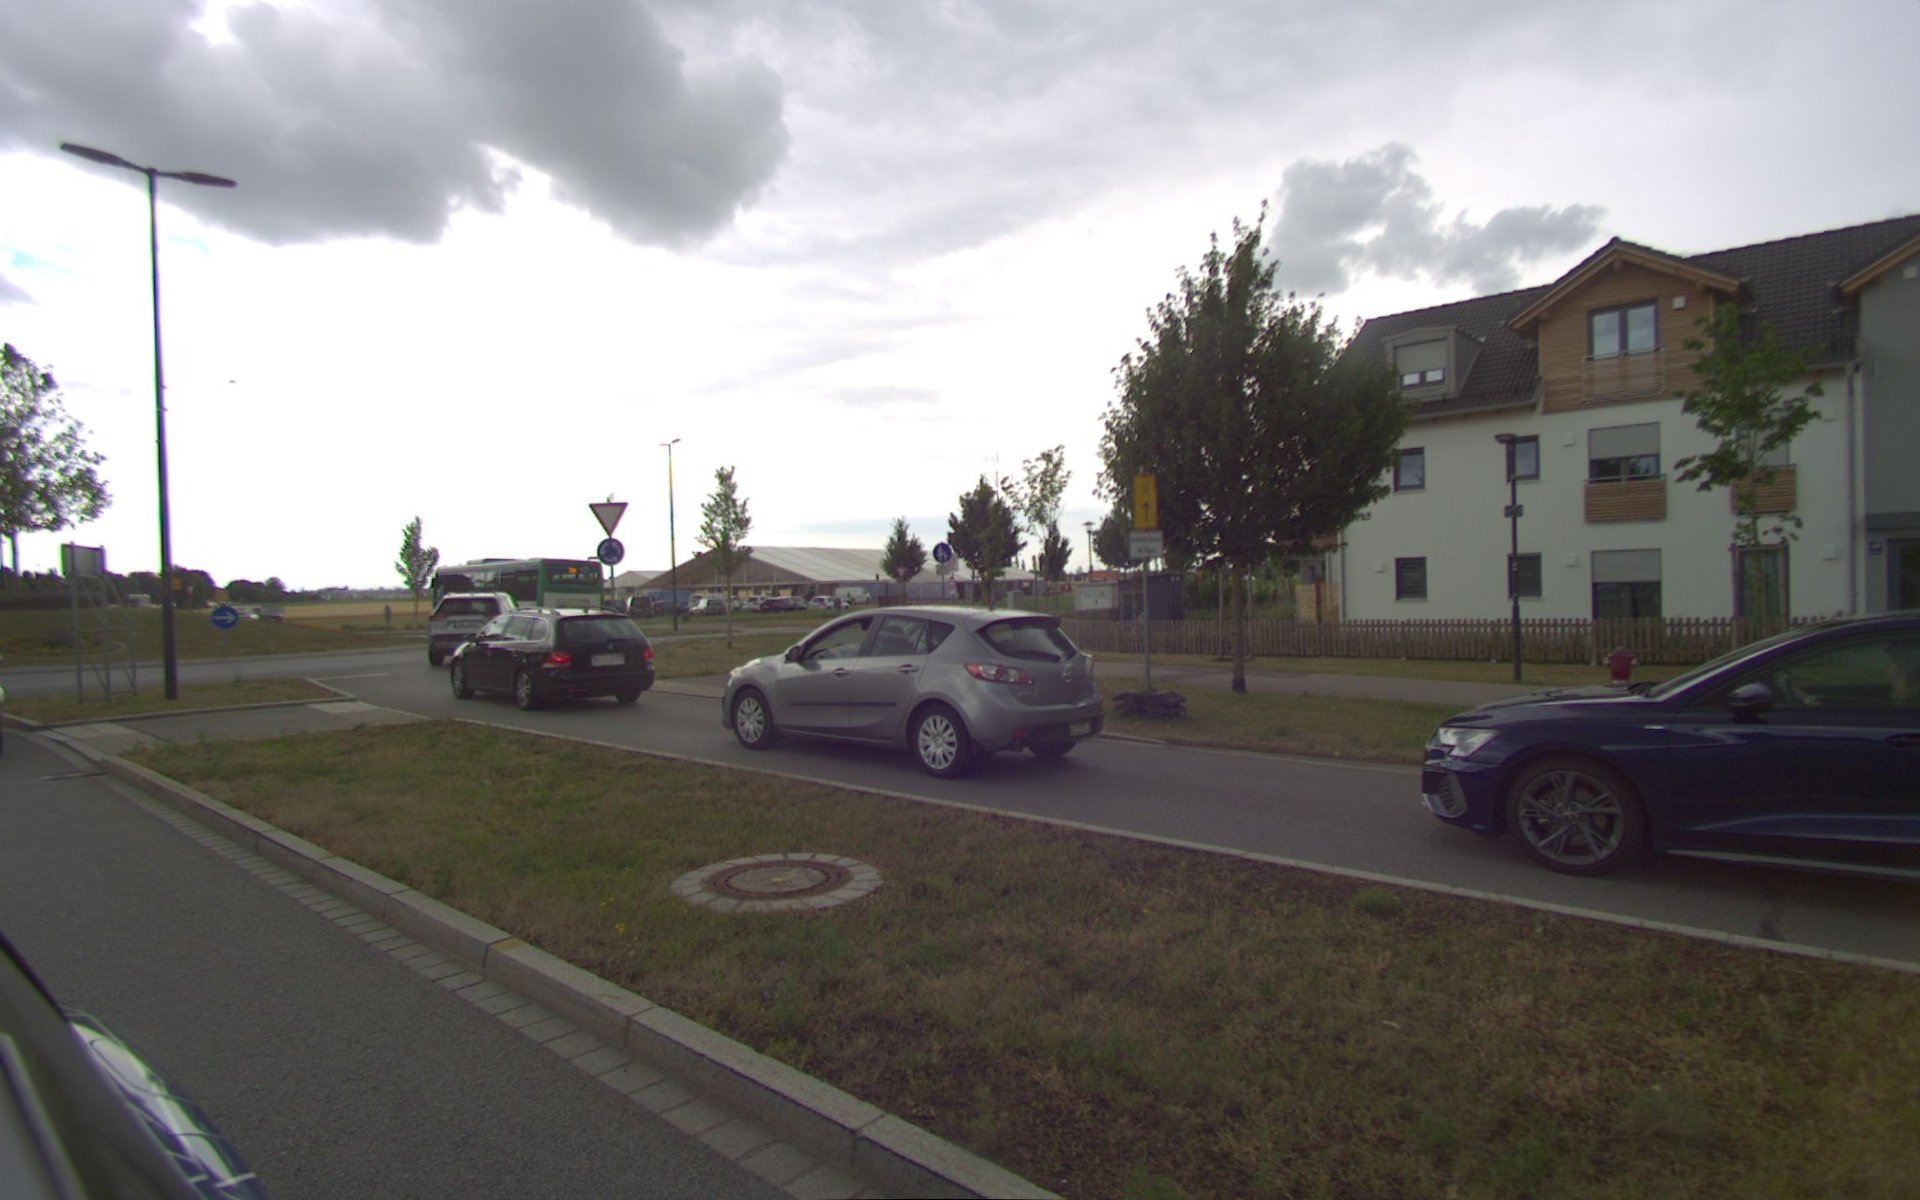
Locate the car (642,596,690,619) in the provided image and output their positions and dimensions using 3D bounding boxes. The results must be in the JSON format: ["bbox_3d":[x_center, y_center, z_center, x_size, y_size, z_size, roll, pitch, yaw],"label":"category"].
[{"bbox_3d":[-26.242,0.657,90.400,1.991,2.029,3.962,-1,-1,28],"label":"car"}]

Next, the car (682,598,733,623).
[{"bbox_3d":[-21.164,0.913,84.940,1.993,2.029,3.956,-1,-1,32],"label":"car"}]

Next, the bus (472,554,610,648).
[{"bbox_3d":[-16.213,0.079,38.926,2.947,3.305,6.493,0,-1,-42],"label":"bus"}]

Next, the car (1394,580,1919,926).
[{"bbox_3d":[4.733,0.664,5.087,4.348,1.500,1.807,-1,-1,41],"label":"car"}]

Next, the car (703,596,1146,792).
[{"bbox_3d":[-0.499,0.754,9.823,4.213,1.500,1.807,-1,-1,41],"label":"car"}]

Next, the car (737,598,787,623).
[{"bbox_3d":[-16.447,0.852,84.189,1.991,2.029,3.962,-1,-1,28],"label":"car"}]

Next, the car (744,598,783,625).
[{"bbox_3d":[-14.858,0.873,76.248,2.194,2.029,4.013,0,-1,-21],"label":"car"}]

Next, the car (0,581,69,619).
[{"bbox_3d":[-43.630,0.017,46.780,1.967,1.696,4.010,0,-1,-13],"label":"car"}]

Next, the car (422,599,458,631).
[{"bbox_3d":[-34.203,0.969,66.630,1.965,2.029,4.013,0,-1,-25],"label":"car"}]

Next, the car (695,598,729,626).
[{"bbox_3d":[-18.567,0.907,75.633,1.965,2.029,4.013,0,-1,-21],"label":"car"}]

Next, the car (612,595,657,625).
[{"bbox_3d":[-22.758,0.729,70.752,1.967,2.029,4.010,0,-1,-34],"label":"car"}]

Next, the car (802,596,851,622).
[{"bbox_3d":[-10.781,0.762,81.910,1.991,2.029,3.962,-1,-1,28],"label":"car"}]

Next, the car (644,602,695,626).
[{"bbox_3d":[-24.488,1.180,85.505,1.991,2.029,3.962,-1,-1,28],"label":"car"}]

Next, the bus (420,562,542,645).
[{"bbox_3d":[-20.786,0.188,43.725,2.948,3.305,6.710,0,-1,-42],"label":"bus"}]

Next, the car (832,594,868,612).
[{"bbox_3d":[-12.645,0.364,116.586,1.991,2.029,4.523,-1,-1,28],"label":"car"}]

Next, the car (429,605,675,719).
[{"bbox_3d":[-6.349,0.859,15.510,4.336,1.500,1.806,-1,-1,42],"label":"car"}]

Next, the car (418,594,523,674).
[{"bbox_3d":[-11.729,0.733,24.503,1.800,1.735,4.414,0,0,-20],"label":"car"}]
